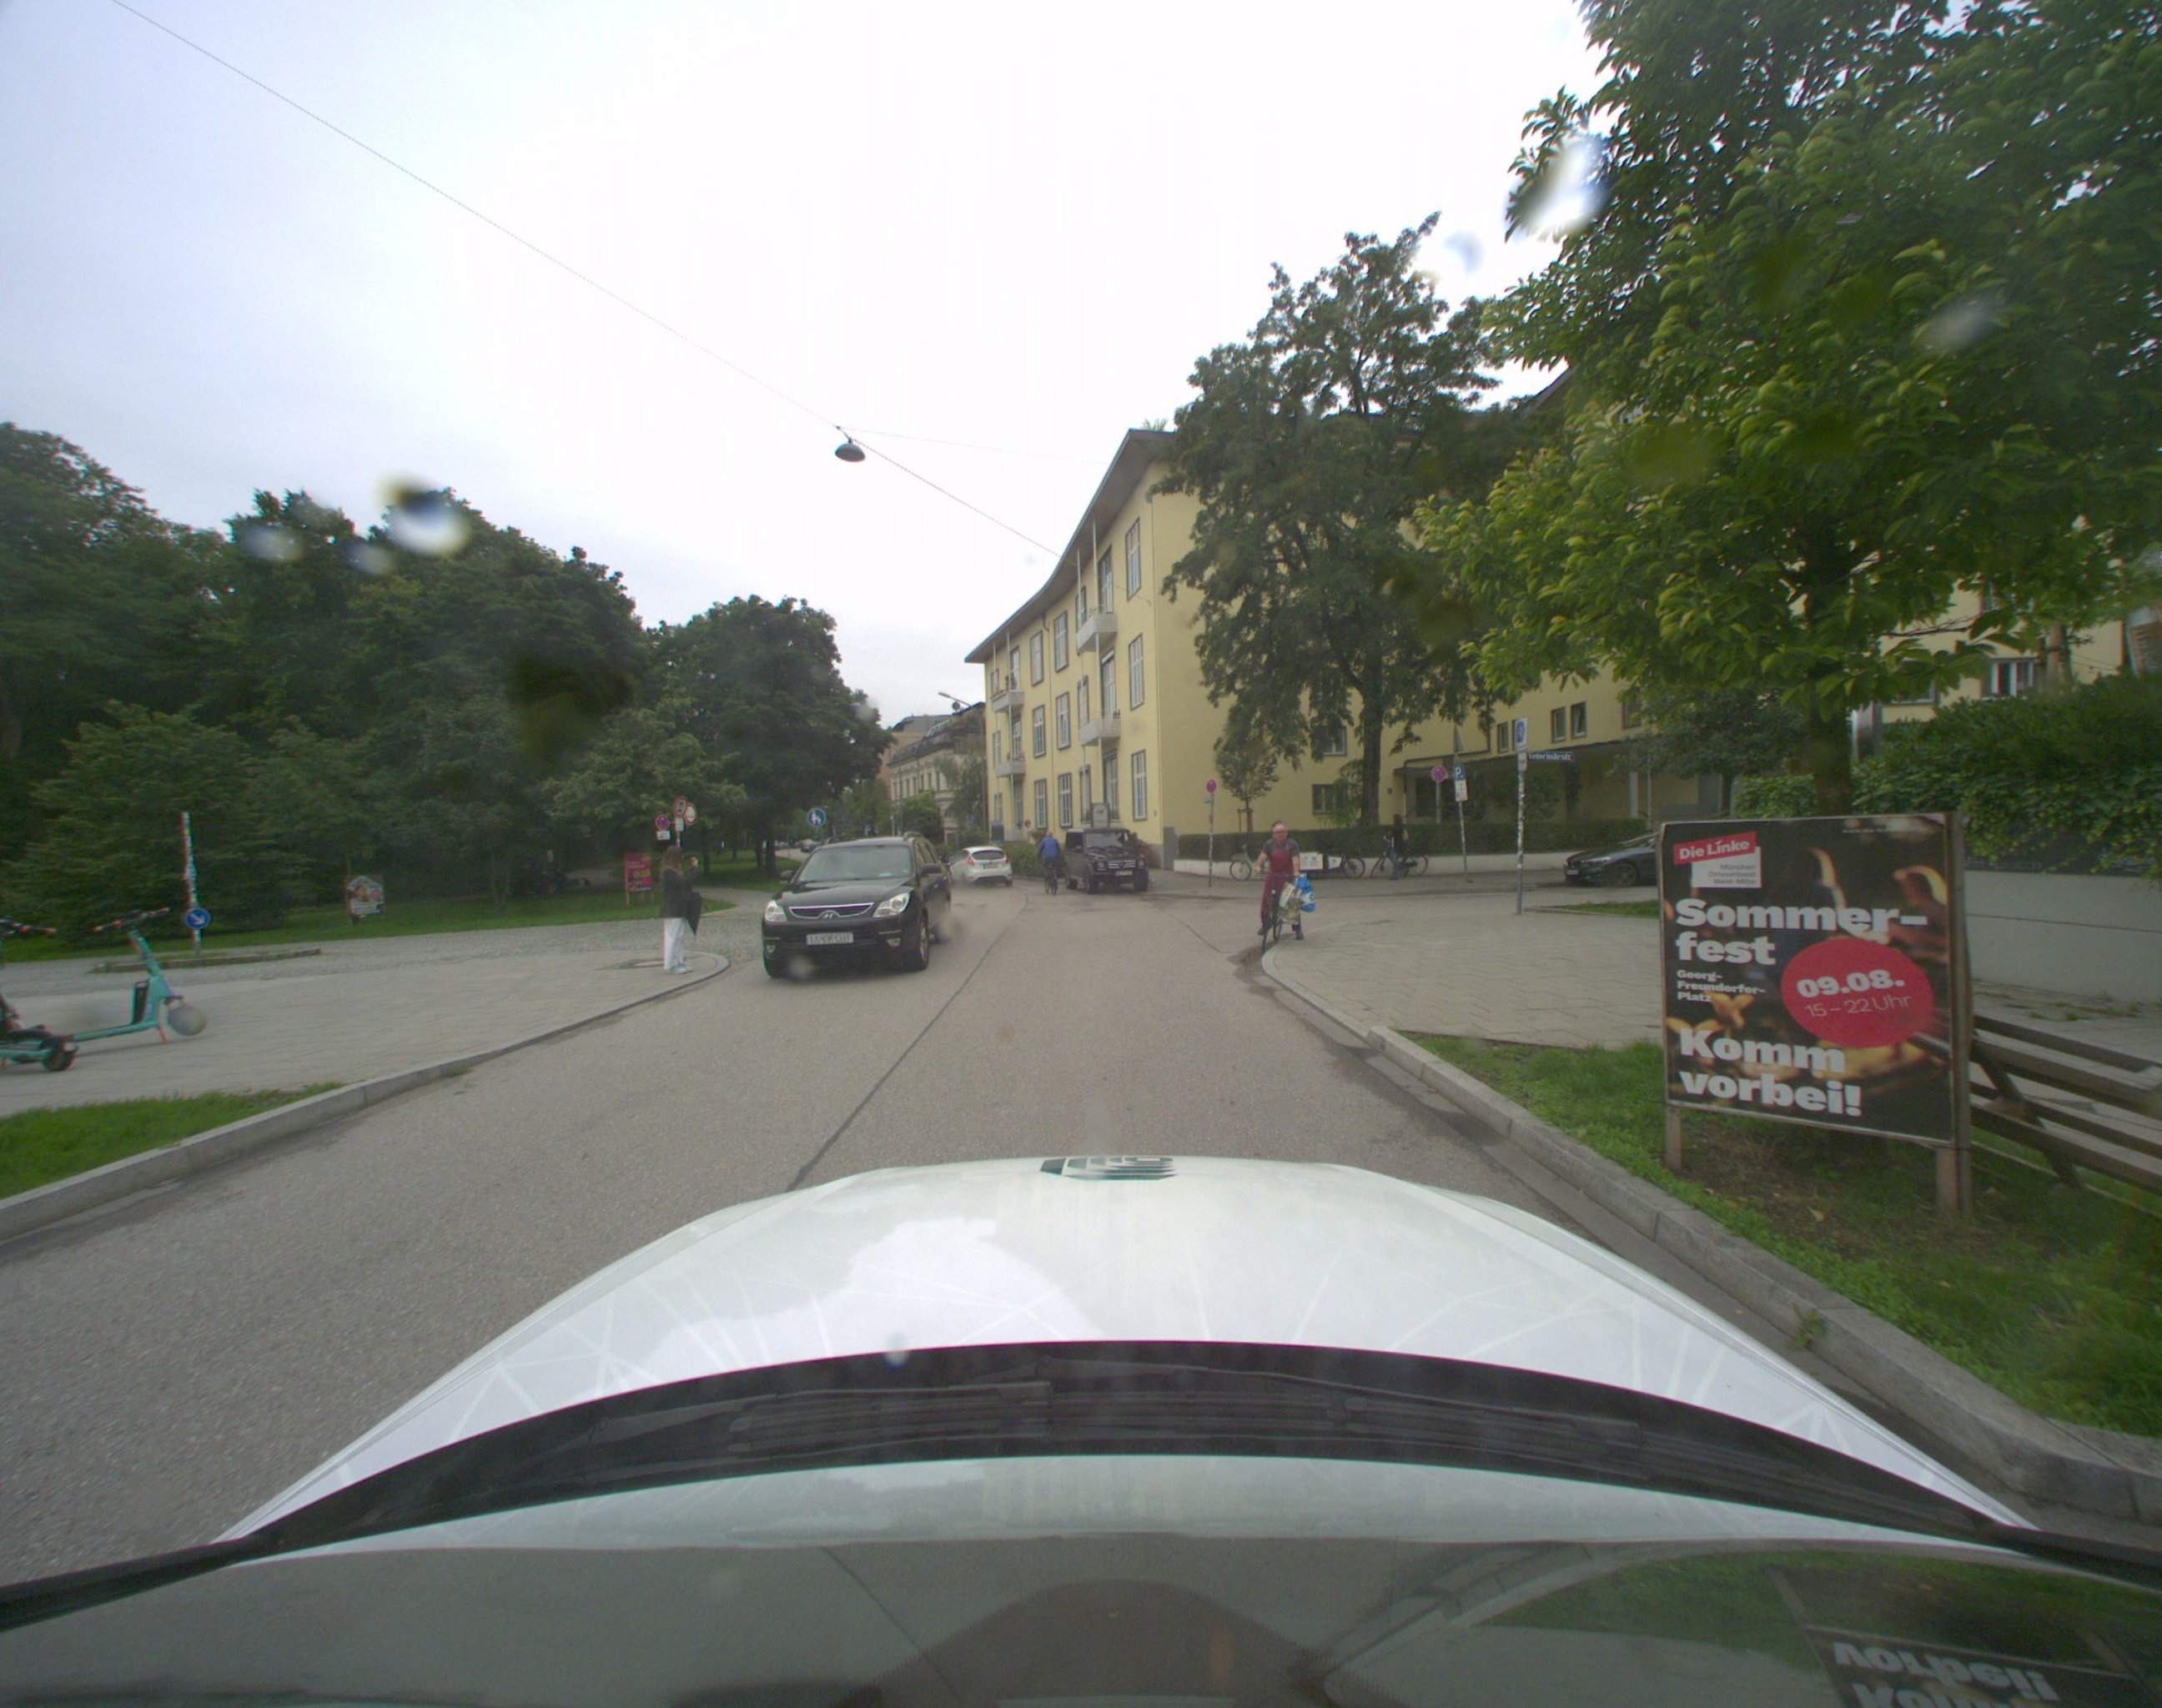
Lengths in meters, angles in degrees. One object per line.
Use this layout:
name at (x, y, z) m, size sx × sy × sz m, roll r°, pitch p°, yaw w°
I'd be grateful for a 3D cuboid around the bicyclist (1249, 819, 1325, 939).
bicyclist at (2.923, 0.332, 11.654) m, size 0.871 × 1.609 × 1.051 m, roll -2°, pitch 1°, yaw 6°

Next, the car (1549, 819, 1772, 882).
car at (14.302, -0.057, 20.269) m, size 4.304 × 1.367 × 1.663 m, roll -2°, pitch -1°, yaw 1°

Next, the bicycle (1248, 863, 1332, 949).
bicycle at (2.953, 0.692, 11.745) m, size 0.872 × 1.019 × 2.195 m, roll -2°, pitch 1°, yaw 7°

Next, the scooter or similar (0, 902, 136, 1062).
scooter or similar at (-8.590, 1.043, 6.766) m, size 1.252 × 1.244 × 0.396 m, roll -2°, pitch -1°, yaw 11°

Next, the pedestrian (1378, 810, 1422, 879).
pedestrian at (8.950, -0.261, 22.872) m, size 0.847 × 1.857 × 0.766 m, roll -3°, pitch 1°, yaw -1°

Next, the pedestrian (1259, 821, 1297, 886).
pedestrian at (5.416, -0.016, 22.462) m, size 0.824 × 1.746 × 0.740 m, roll -2°, pitch 1°, yaw -1°

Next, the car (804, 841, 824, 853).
car at (-36.569, -0.993, 111.462) m, size 2.003 × 1.600 × 4.219 m, roll -2°, pitch 1°, yaw -25°

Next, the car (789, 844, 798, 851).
car at (-70.702, -1.557, 200.306) m, size 1.807 × 1.658 × 4.226 m, roll -2°, pitch 1°, yaw -17°

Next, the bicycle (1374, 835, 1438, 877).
bicycle at (9.465, 0.053, 23.731) m, size 1.677 × 1.130 × 0.460 m, roll -2°, pitch 1°, yaw -1°

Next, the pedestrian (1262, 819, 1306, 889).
pedestrian at (5.393, -0.007, 21.701) m, size 0.985 × 1.809 × 0.660 m, roll -2°, pitch 1°, yaw 4°

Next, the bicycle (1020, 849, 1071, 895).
bicycle at (-1.070, 0.493, 24.085) m, size 0.923 × 1.252 × 2.308 m, roll -2°, pitch 1°, yaw -17°

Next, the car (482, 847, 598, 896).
car at (-25.047, 0.786, 37.861) m, size 1.765 × 2.013 × 4.026 m, roll -2°, pitch 1°, yaw 32°

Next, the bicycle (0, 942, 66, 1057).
bicycle at (-10.625, 1.430, 8.198) m, size 1.259 × 0.977 × 0.417 m, roll -2°, pitch 2°, yaw 37°

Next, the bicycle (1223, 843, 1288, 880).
bicycle at (5.438, 0.240, 25.448) m, size 1.925 × 1.084 × 0.532 m, roll -3°, pitch -1°, yaw 43°

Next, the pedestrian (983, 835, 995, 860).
pedestrian at (-6.418, -0.433, 56.867) m, size 0.634 × 1.684 × 0.692 m, roll -3°, pitch 1°, yaw -23°

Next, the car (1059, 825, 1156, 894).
car at (0.711, 0.101, 25.519) m, size 1.876 × 1.887 × 4.598 m, roll -2°, pitch 1°, yaw -13°

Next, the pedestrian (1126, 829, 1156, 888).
pedestrian at (1.854, 0.116, 25.280) m, size 0.845 × 1.757 × 0.954 m, roll -2°, pitch 1°, yaw 2°

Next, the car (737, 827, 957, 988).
car at (-2.957, 0.540, 11.421) m, size 1.990 × 1.719 × 4.608 m, roll -2°, pitch 1°, yaw -4°

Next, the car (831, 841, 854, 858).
car at (-25.544, -0.522, 87.169) m, size 1.802 × 1.679 × 3.967 m, roll -3°, pitch 2°, yaw -25°

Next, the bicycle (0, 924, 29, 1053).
bicycle at (-10.131, 1.237, 7.592) m, size 1.176 × 1.111 × 0.303 m, roll -2°, pitch 0°, yaw 41°

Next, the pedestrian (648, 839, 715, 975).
pedestrian at (-5.252, 0.673, 10.742) m, size 0.542 × 1.696 × 0.664 m, roll -4°, pitch 1°, yaw -12°

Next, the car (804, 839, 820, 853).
car at (-39.723, -1.125, 120.196) m, size 2.074 × 1.966 × 4.942 m, roll -2°, pitch 1°, yaw -21°

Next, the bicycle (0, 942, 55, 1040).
bicycle at (-12.107, 1.520, 9.149) m, size 1.260 × 0.977 × 0.417 m, roll -2°, pitch 1°, yaw 26°

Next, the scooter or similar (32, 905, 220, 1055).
scooter or similar at (-8.712, 1.102, 7.459) m, size 0.434 × 1.212 × 1.060 m, roll -2°, pitch -1°, yaw 32°

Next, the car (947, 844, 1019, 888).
car at (-3.575, 0.378, 29.106) m, size 1.753 × 1.406 × 3.702 m, roll -2°, pitch 1°, yaw -20°

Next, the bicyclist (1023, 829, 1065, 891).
bicyclist at (-1.094, 0.151, 24.101) m, size 0.916 × 1.764 × 1.208 m, roll -2°, pitch 1°, yaw -17°

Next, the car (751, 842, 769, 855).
car at (-42.948, -0.732, 108.988) m, size 2.003 × 1.600 × 4.432 m, roll -2°, pitch 1°, yaw -24°

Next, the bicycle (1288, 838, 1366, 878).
bicycle at (7.302, 0.122, 24.206) m, size 2.151 × 1.115 × 0.643 m, roll -2°, pitch 1°, yaw 16°
